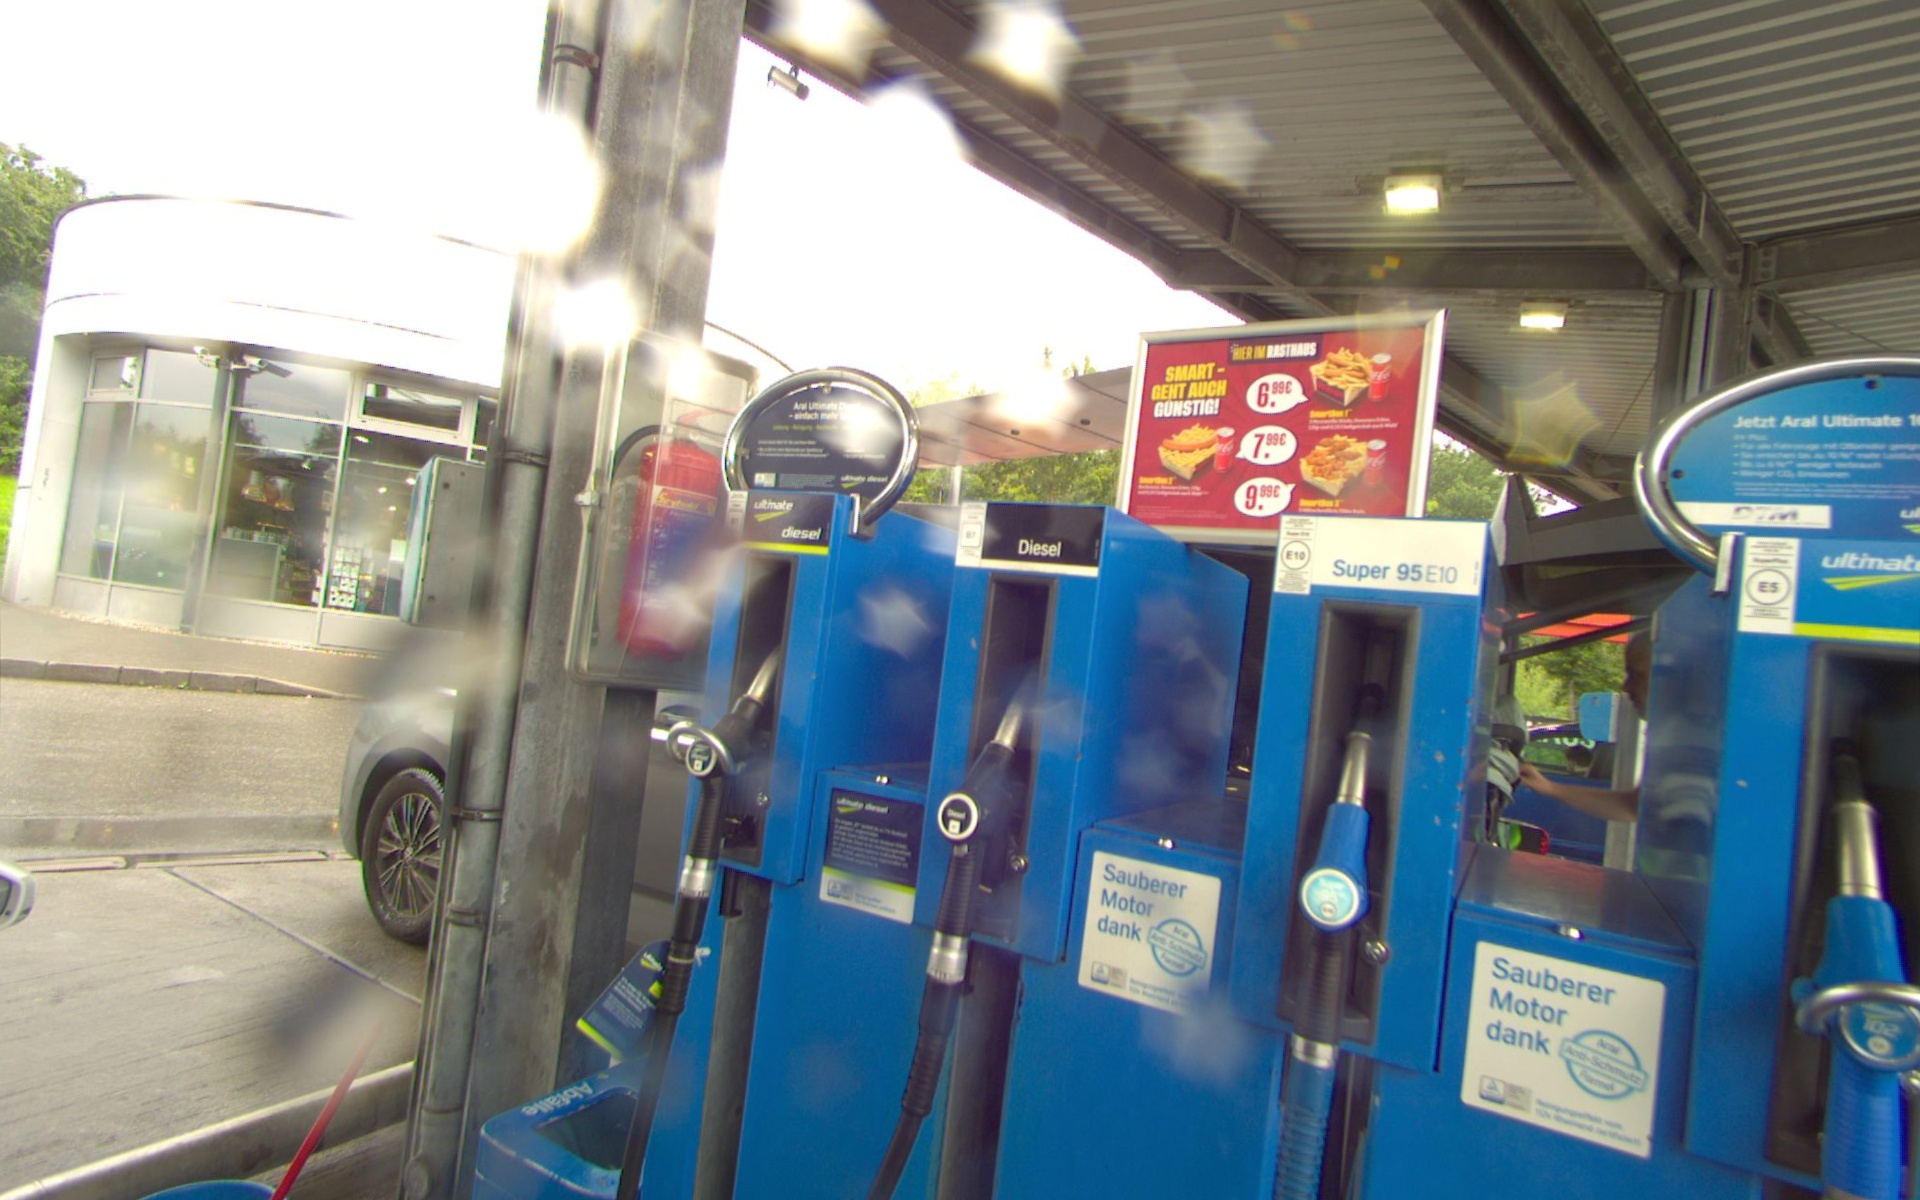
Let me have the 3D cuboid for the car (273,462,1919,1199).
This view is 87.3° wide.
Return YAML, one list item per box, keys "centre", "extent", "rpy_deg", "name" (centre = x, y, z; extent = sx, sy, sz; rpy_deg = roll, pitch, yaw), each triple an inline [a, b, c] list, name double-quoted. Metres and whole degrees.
- centre: [-0.151, 0.646, 3.679]
  extent: [5.055, 1.819, 1.865]
  rpy_deg: [6, -2, 32]
  name: "car"
